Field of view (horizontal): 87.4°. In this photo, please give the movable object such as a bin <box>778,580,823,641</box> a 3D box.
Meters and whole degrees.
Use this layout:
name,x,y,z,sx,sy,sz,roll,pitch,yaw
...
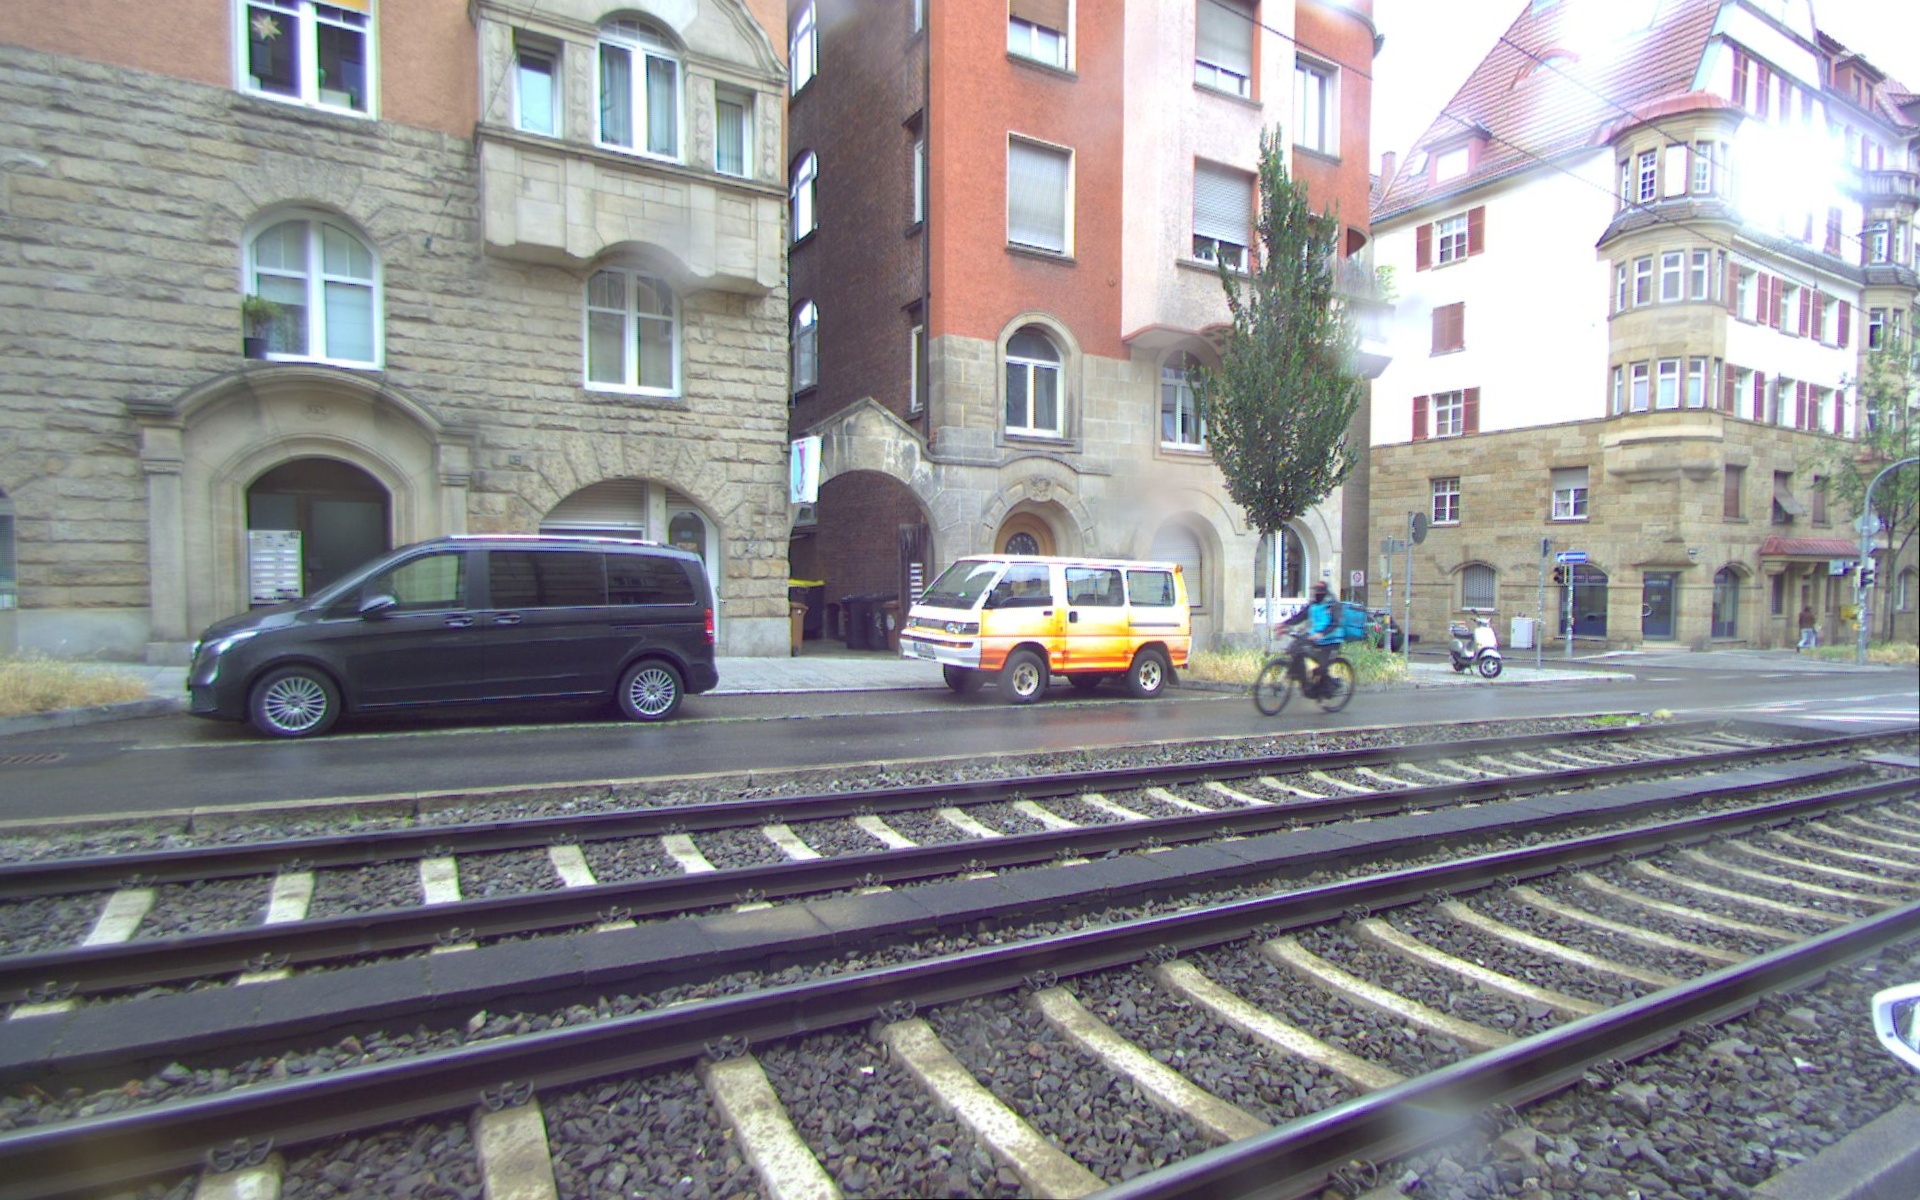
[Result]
name,x,y,z,sx,sy,sz,roll,pitch,yaw
movable object such as a bin,-3.611,0.222,22.662,0.676,1.324,1.154,1,1,-26

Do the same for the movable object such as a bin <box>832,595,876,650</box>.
name,x,y,z,sx,sy,sz,roll,pitch,yaw
movable object such as a bin,-2.084,0.430,19.691,0.607,1.052,0.793,1,-1,-27

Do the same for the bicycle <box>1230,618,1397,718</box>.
name,x,y,z,sx,sy,sz,roll,pitch,yaw
bicycle,4.609,0.875,13.087,2.009,1.202,0.821,2,0,-24

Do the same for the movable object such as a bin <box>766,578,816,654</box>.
name,x,y,z,sx,sy,sz,roll,pitch,yaw
movable object such as a bin,-3.107,0.286,18.469,0.648,1.360,0.903,1,1,-27

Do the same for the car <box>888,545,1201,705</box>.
name,x,y,z,sx,sy,sz,roll,pitch,yaw
car,1.274,0.364,14.444,4.295,2.001,1.721,2,0,-32

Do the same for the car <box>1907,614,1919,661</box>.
name,x,y,z,sx,sy,sz,roll,pitch,yaw
car,34.168,1.329,34.356,3.994,1.573,1.741,2,0,-34

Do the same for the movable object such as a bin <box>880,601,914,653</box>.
name,x,y,z,sx,sy,sz,roll,pitch,yaw
movable object such as a bin,-1.174,0.501,18.637,0.442,0.957,0.557,1,-1,-27

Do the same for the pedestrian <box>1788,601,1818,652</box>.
name,x,y,z,sx,sy,sz,roll,pitch,yaw
pedestrian,28.934,0.912,34.464,0.696,1.695,0.626,2,0,-37

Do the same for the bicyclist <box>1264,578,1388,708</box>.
name,x,y,z,sx,sy,sz,roll,pitch,yaw
bicyclist,4.793,0.547,13.173,1.236,1.618,0.882,2,0,-24

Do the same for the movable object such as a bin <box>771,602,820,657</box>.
name,x,y,z,sx,sy,sz,roll,pitch,yaw
movable object such as a bin,-2.893,0.508,17.596,0.627,0.918,0.793,1,1,-27

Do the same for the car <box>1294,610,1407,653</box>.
name,x,y,z,sx,sy,sz,roll,pitch,yaw
car,14.461,1.144,37.348,1.683,1.423,3.618,2,0,-34

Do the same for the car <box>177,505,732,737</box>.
name,x,y,z,sx,sy,sz,roll,pitch,yaw
car,-5.052,0.236,10.600,4.769,1.968,1.984,2,0,-30

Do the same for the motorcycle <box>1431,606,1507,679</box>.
name,x,y,z,sx,sy,sz,roll,pitch,yaw
motorcycle,10.105,0.821,20.005,0.612,1.384,1.596,2,0,-3

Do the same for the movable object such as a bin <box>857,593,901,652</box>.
name,x,y,z,sx,sy,sz,roll,pitch,yaw
movable object such as a bin,-1.547,0.426,19.145,0.607,1.090,0.679,1,-1,-27
